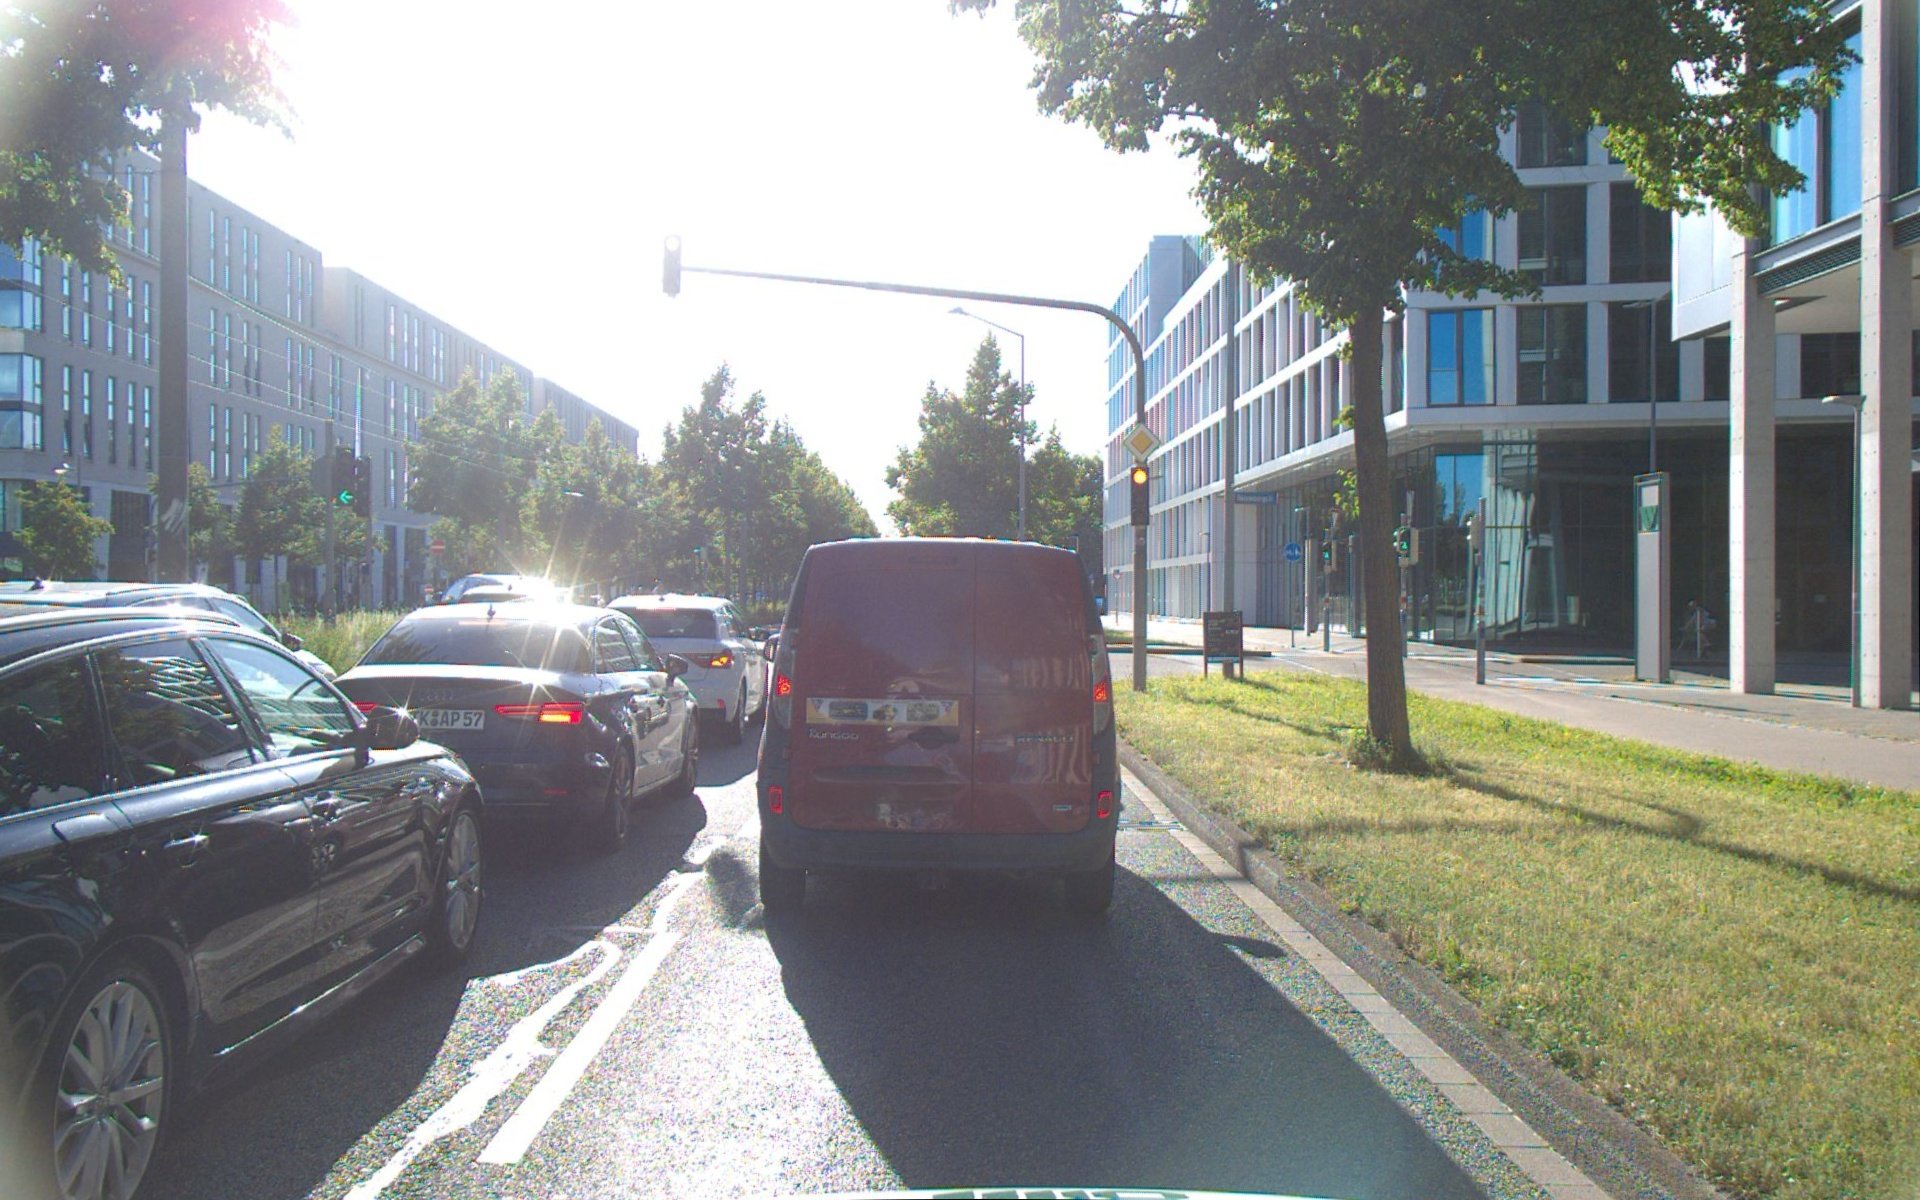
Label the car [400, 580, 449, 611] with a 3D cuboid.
[{"bbox_3d":[-35.290,-0.303,109.103,1.953,2.049,3.999,0,0,-1],"label":"car"}]

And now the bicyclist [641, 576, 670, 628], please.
[{"bbox_3d":[-11.763,0.078,63.879,0.978,1.981,0.818,0,0,-1],"label":"bicyclist"}]

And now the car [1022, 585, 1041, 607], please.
[{"bbox_3d":[8.568,-0.499,198.459,1.953,2.540,4.986,0,0,-1],"label":"car"}]

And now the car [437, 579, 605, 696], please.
[{"bbox_3d":[-6.018,0.456,23.136,1.765,1.473,4.559,0,0,-9],"label":"car"}]

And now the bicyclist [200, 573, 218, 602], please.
[{"bbox_3d":[-40.556,-0.664,89.306,0.663,1.556,0.714,0,0,-1],"label":"bicyclist"}]

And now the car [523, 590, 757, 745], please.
[{"bbox_3d":[-3.243,0.628,17.503,1.767,1.451,3.900,0,0,-1],"label":"car"}]

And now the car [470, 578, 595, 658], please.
[{"bbox_3d":[-8.841,0.332,33.982,1.775,1.473,4.535,1,1,-24],"label":"car"}]

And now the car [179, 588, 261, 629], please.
[{"bbox_3d":[-34.749,0.380,77.765,1.953,1.845,4.369,0,0,-1],"label":"car"}]

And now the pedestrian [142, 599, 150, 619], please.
[{"bbox_3d":[-43.319,0.479,88.023,0.248,1.104,0.289,0,0,-1],"label":"pedestrian"}]

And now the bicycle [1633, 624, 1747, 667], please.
[{"bbox_3d":[20.107,1.238,45.597,2.776,1.134,0.821,0,0,14],"label":"bicycle"}]

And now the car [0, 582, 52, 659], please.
[{"bbox_3d":[-21.337,0.331,33.897,4.521,1.509,1.781,4,0,-38],"label":"car"}]

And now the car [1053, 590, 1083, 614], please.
[{"bbox_3d":[8.322,0.161,127.914,1.953,1.813,3.999,0,0,-1],"label":"car"}]

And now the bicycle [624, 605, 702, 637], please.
[{"bbox_3d":[-11.463,0.794,63.868,2.882,1.211,0.818,0,0,-1],"label":"bicycle"}]

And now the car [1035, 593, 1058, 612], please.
[{"bbox_3d":[8.412,0.249,160.737,1.953,1.813,3.999,0,0,-1],"label":"car"}]

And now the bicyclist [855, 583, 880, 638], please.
[{"bbox_3d":[-3.555,0.394,63.822,0.921,2.129,0.817,0,0,-1],"label":"bicyclist"}]

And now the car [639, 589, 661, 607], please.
[{"bbox_3d":[-37.228,-0.234,198.653,1.953,2.049,3.999,0,0,-1],"label":"car"}]

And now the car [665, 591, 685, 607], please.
[{"bbox_3d":[-37.369,-0.192,216.668,1.953,2.049,3.999,0,0,-1],"label":"car"}]

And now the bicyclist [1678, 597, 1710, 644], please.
[{"bbox_3d":[20.226,0.555,45.568,0.666,1.297,0.821,0,0,13],"label":"bicyclist"}]

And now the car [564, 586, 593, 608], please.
[{"bbox_3d":[-36.393,-0.305,157.866,1.953,2.049,3.999,0,0,-1],"label":"car"}]

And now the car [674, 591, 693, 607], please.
[{"bbox_3d":[-37.181,-0.169,222.295,1.953,2.049,3.999,0,0,-1],"label":"car"}]

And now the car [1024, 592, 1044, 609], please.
[{"bbox_3d":[8.055,0.083,179.932,1.953,1.813,3.999,0,0,-1],"label":"car"}]

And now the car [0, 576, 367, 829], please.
[{"bbox_3d":[-5.828,0.606,12.040,1.483,1.518,4.215,0,0,0],"label":"car"}]

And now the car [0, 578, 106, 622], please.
[{"bbox_3d":[-33.200,-0.025,60.646,1.729,1.546,3.999,0,0,-1],"label":"car"}]

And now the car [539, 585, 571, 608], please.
[{"bbox_3d":[-36.375,-0.328,148.766,1.953,2.049,3.999,0,0,-1],"label":"car"}]

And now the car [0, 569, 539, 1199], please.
[{"bbox_3d":[-2.777,0.685,5.101,1.836,1.510,4.965,0,0,-2],"label":"car"}]

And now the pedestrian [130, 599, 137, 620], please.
[{"bbox_3d":[-44.097,0.514,88.200,0.248,1.104,0.260,0,0,-1],"label":"pedestrian"}]

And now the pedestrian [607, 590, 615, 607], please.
[{"bbox_3d":[-42.178,-0.205,199.651,0.789,2.049,0.871,0,0,-1],"label":"pedestrian"}]

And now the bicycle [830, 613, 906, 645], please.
[{"bbox_3d":[-3.549,1.126,63.810,2.882,1.211,0.817,0,0,-1],"label":"bicycle"}]

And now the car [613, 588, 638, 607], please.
[{"bbox_3d":[-36.730,-0.256,181.846,1.953,2.049,3.999,0,0,-1],"label":"car"}]

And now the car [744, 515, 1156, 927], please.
[{"bbox_3d":[-0.072,0.525,9.293,1.804,1.812,3.999,0,0,-1],"label":"car"}]

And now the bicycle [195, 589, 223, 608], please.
[{"bbox_3d":[-40.558,-0.067,89.327,0.663,1.005,1.956,0,0,-1],"label":"bicycle"}]

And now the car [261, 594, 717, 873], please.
[{"bbox_3d":[-2.788,0.694,10.854,1.804,1.451,4.338,0,0,-1],"label":"car"}]
